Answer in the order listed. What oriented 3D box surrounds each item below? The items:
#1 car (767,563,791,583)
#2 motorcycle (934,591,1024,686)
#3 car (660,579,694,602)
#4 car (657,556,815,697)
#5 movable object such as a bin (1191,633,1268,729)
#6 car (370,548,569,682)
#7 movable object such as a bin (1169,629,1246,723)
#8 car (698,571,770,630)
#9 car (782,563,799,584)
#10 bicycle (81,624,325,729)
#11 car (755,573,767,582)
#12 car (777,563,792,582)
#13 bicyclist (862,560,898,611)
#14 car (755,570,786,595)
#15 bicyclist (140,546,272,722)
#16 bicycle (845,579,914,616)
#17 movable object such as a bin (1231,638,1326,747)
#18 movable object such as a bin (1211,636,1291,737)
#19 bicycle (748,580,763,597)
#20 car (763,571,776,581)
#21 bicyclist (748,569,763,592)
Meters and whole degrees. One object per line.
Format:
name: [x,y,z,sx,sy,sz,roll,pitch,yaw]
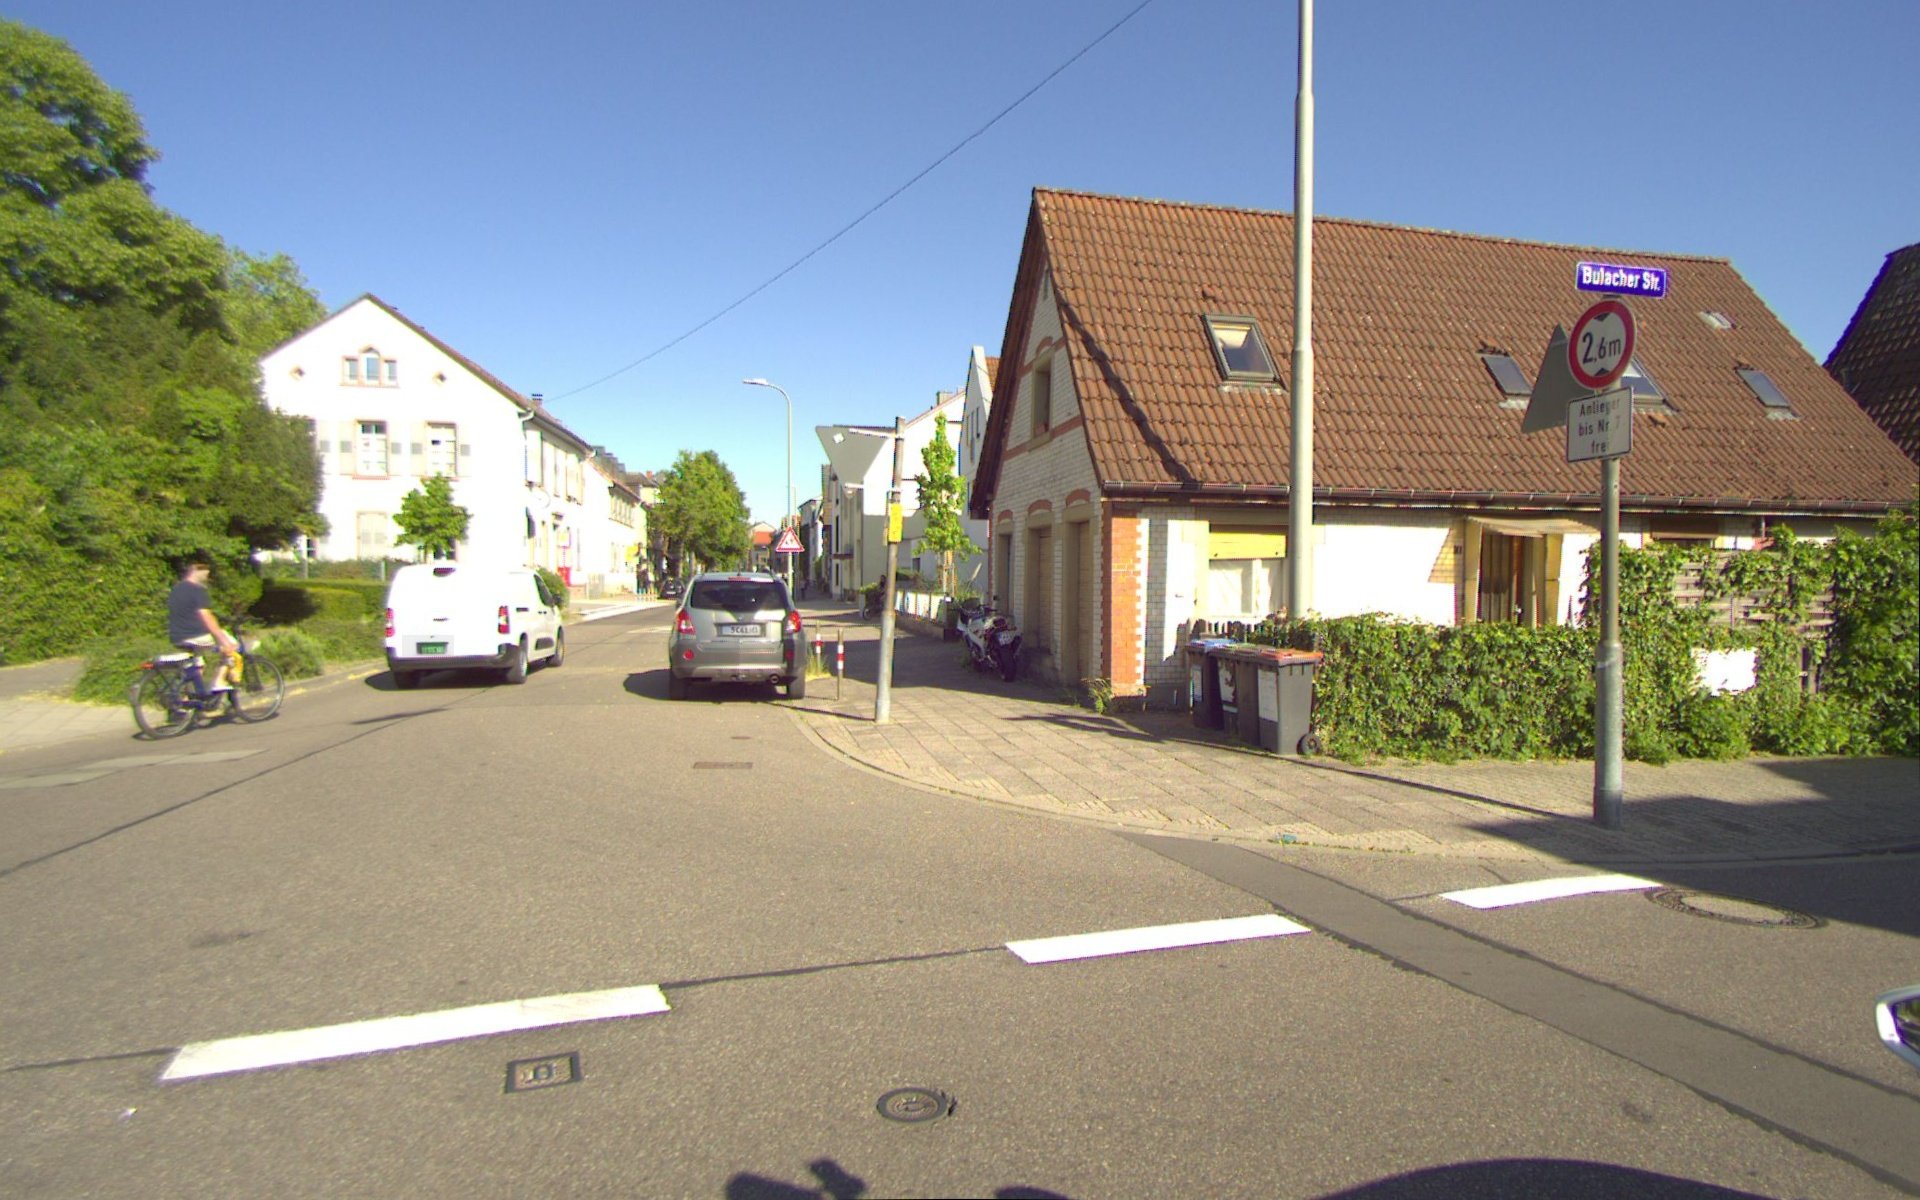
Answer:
car: [-16.925,-2.537,94.038,1.963,1.731,4.174,1,2,-8]
motorcycle: [0.248,0.541,15.525,0.867,1.313,2.244,-2,2,-12]
car: [-20.257,-0.701,72.075,1.964,1.484,3.992,1,2,-10]
car: [-3.318,0.282,14.725,1.913,1.748,4.221,1,2,-14]
movable object such as a bin: [2.734,0.812,10.215,0.615,0.918,0.412,0,2,-14]
car: [-7.846,0.163,16.556,1.930,1.873,4.548,0,1,-13]
movable object such as a bin: [2.619,0.796,10.678,0.615,0.937,0.507,1,2,-14]
car: [-6.727,-0.042,29.729,1.912,1.570,4.221,1,2,-14]
car: [-24.952,-3.894,147.897,1.792,2.939,4.646,0,2,-17]
bicycle: [-8.050,0.767,10.859,0.761,0.952,2.292,1,0,5]
car: [-38.527,-4.396,194.374,1.792,1.678,4.118,0,2,-17]
car: [-24.417,-3.840,139.545,1.965,2.508,4.717,1,2,-12]
bicyclist: [-2.835,-0.517,35.711,0.985,1.799,0.894,0,2,-30]
car: [-13.527,-1.257,71.864,1.963,1.731,4.174,1,2,-8]
bicyclist: [-8.059,0.356,10.776,0.751,1.812,0.853,0,0,5]
bicycle: [-2.862,-0.094,35.722,2.270,1.293,0.894,0,2,-30]
movable object such as a bin: [2.931,0.835,9.278,0.615,0.937,0.556,1,2,-14]
movable object such as a bin: [2.831,0.828,9.793,0.615,0.937,0.411,1,2,-14]
bicycle: [-16.787,-0.970,82.518,1.049,1.329,3.006,1,1,-8]
car: [-33.703,-4.179,177.305,1.792,1.678,4.118,0,2,-17]
bicyclist: [-16.800,-1.624,82.458,1.049,1.864,1.209,1,1,-8]
